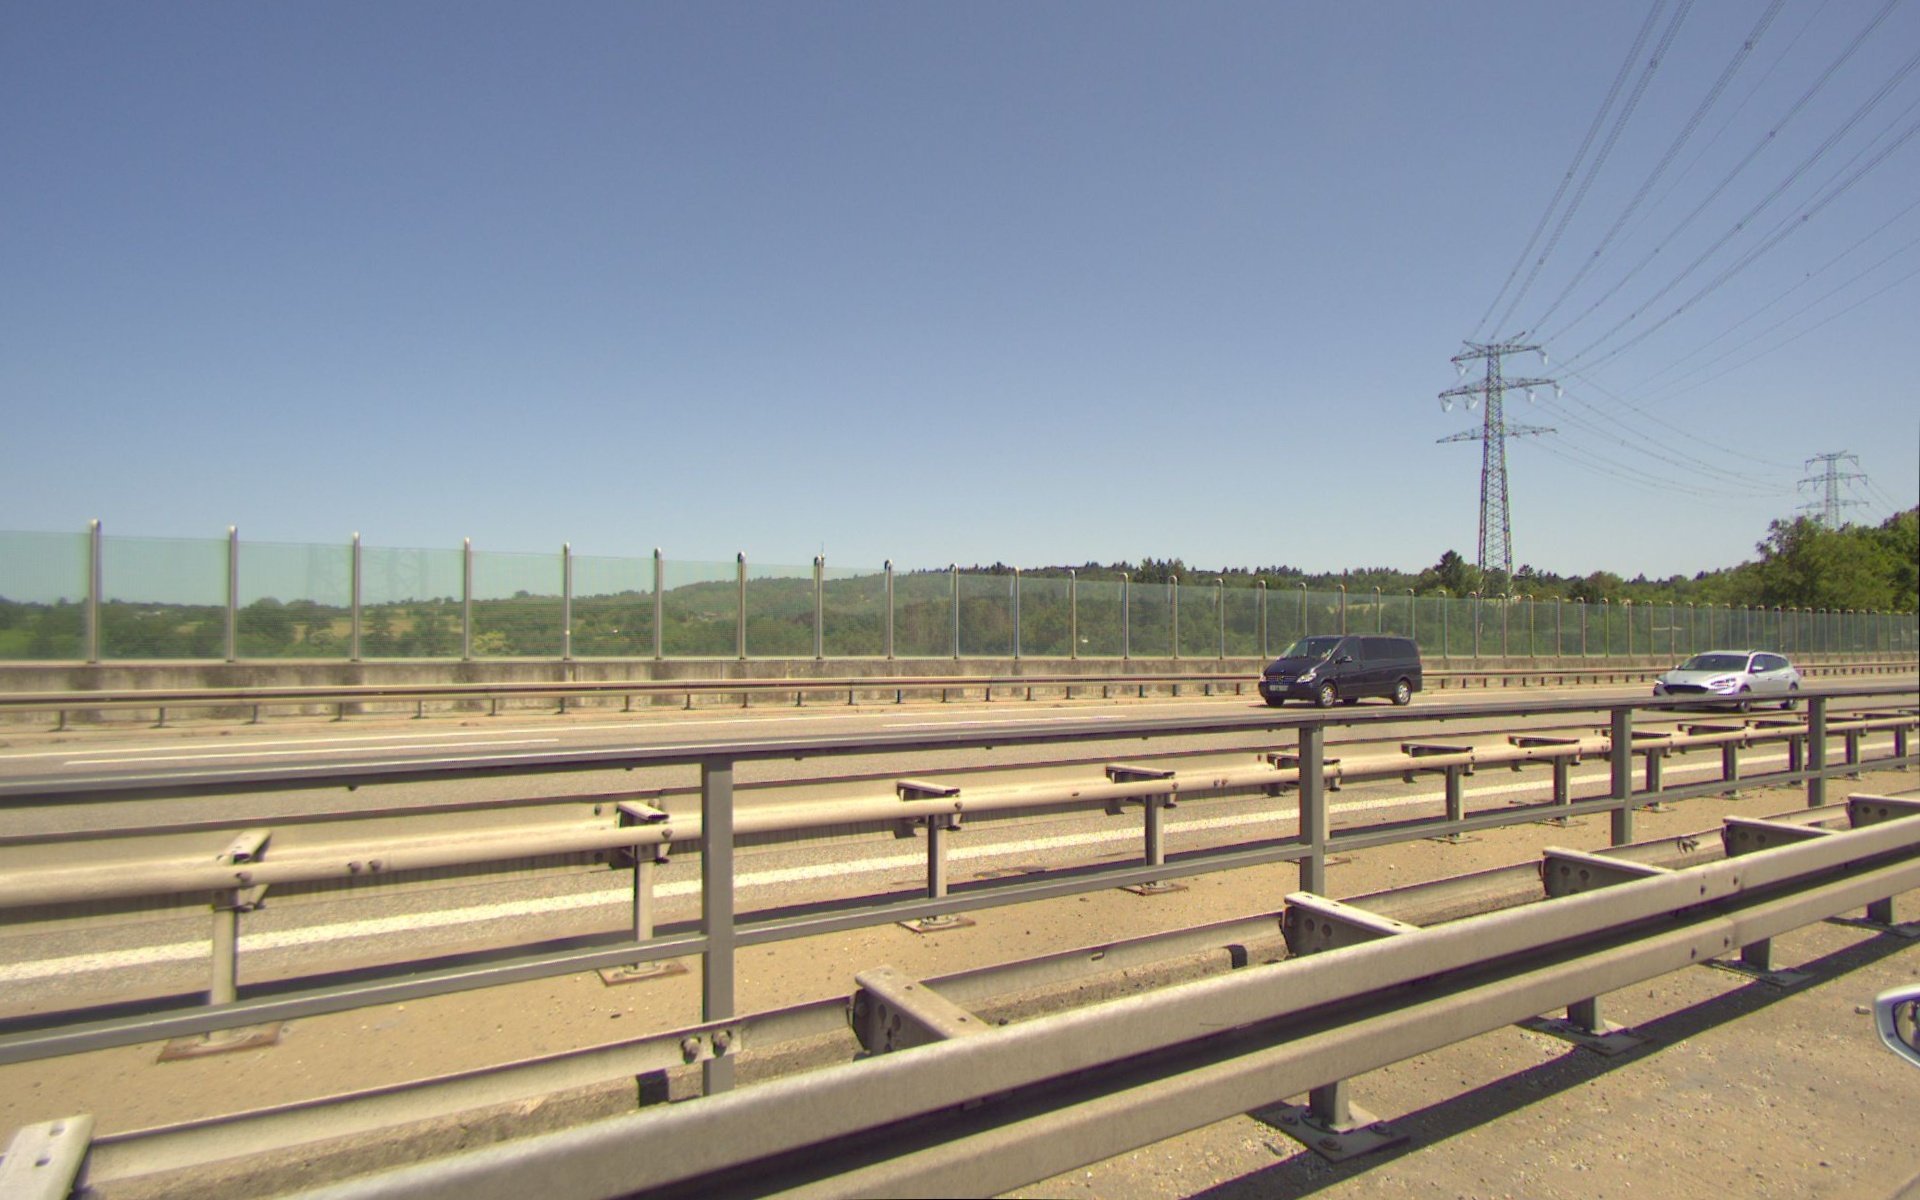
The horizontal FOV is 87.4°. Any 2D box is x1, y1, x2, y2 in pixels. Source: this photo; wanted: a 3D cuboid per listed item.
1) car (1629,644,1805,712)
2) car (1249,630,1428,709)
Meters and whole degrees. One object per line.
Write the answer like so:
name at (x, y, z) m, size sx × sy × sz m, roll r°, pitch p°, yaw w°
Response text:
car at (18.803, 1.890, 24.929) m, size 4.334 × 1.564 × 1.984 m, roll 2°, pitch -3°, yaw -30°
car at (10.151, 1.822, 26.820) m, size 4.896 × 1.930 × 1.947 m, roll 2°, pitch -3°, yaw -32°
